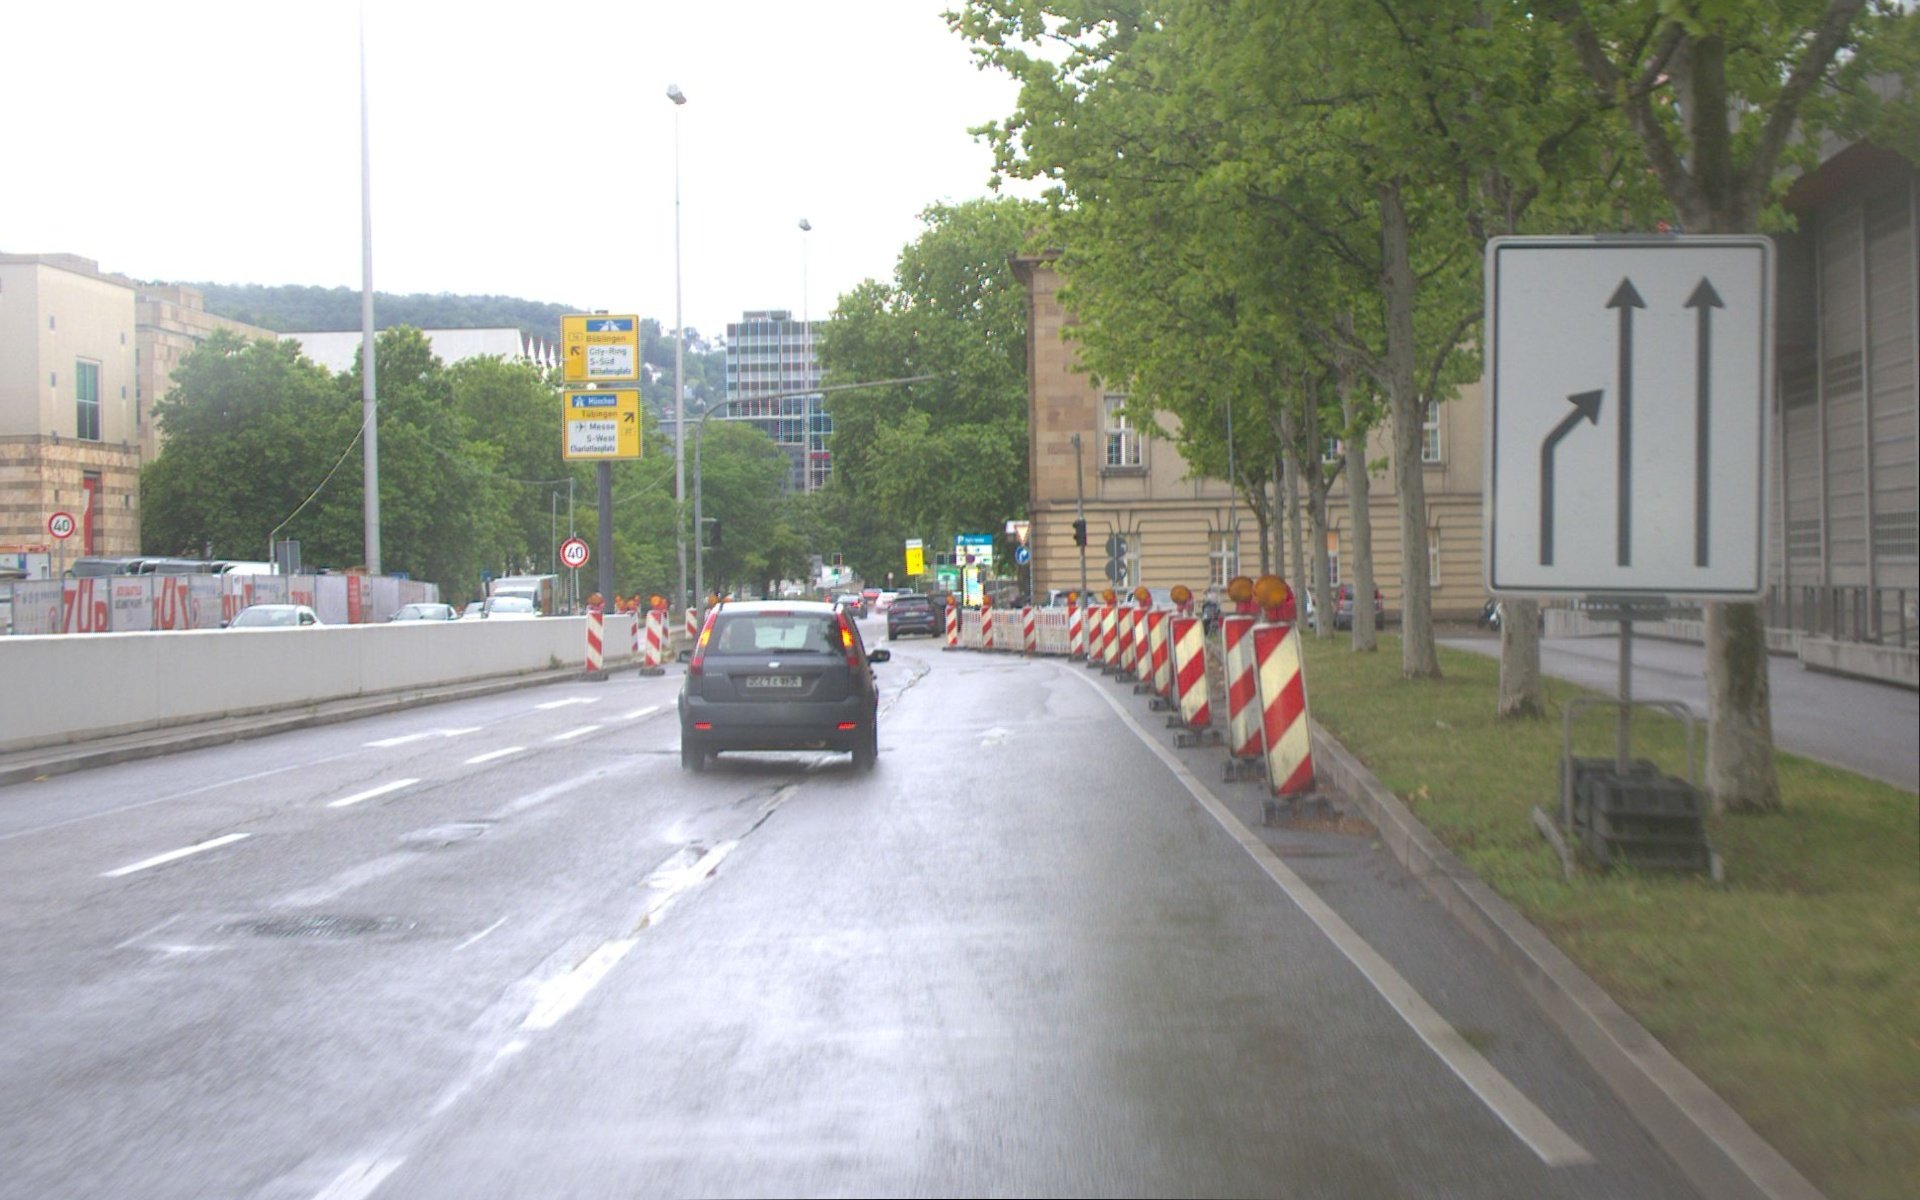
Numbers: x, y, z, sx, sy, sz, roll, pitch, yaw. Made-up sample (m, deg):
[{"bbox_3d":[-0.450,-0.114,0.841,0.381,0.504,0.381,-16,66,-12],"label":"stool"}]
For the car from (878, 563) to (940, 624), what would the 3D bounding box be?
[{"bbox_3d":[-1.745,-0.230,118.641,1.993,2.007,4.000,0,1,1],"label":"car"}]

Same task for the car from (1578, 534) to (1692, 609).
[{"bbox_3d":[17.055,-0.694,87.106,1.993,1.754,5.096,-1,-1,2],"label":"car"}]

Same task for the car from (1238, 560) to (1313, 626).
[{"bbox_3d":[8.665,-0.204,94.308,1.994,1.702,3.999,0,1,6],"label":"car"}]

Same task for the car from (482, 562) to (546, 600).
[{"bbox_3d":[-14.766,-0.641,113.899,1.626,1.191,3.405,1,1,1],"label":"car"}]

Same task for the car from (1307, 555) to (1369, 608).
[{"bbox_3d":[12.680,-0.606,115.446,1.994,1.703,3.999,0,-1,6],"label":"car"}]

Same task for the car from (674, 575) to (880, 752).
[{"bbox_3d":[-1.643,0.515,30.229,1.670,1.422,3.758,-1,0,-4],"label":"car"}]

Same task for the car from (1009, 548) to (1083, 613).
[{"bbox_3d":[2.356,-0.566,95.130,1.993,1.702,4.000,0,1,1],"label":"car"}]

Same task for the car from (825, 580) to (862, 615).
[{"bbox_3d":[-6.955,-0.131,205.068,1.993,2.007,4.000,1,-1,-4],"label":"car"}]

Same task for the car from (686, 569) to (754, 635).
[{"bbox_3d":[-5.205,0.042,74.719,1.385,1.382,3.067,-2,0,-3],"label":"car"}]

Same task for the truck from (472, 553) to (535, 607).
[{"bbox_3d":[-21.115,-0.899,159.154,2.413,2.331,5.445,1,-1,-3],"label":"truck"}]

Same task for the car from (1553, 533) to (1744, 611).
[{"bbox_3d":[15.839,-0.636,79.191,3.987,1.554,1.933,-2,-2,2],"label":"car"}]

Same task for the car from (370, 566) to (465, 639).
[{"bbox_3d":[-15.401,0.054,97.791,1.993,2.007,4.000,1,1,1],"label":"car"}]

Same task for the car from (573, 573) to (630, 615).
[{"bbox_3d":[-13.407,-0.229,128.763,1.668,1.517,4.000,1,1,0],"label":"car"}]
